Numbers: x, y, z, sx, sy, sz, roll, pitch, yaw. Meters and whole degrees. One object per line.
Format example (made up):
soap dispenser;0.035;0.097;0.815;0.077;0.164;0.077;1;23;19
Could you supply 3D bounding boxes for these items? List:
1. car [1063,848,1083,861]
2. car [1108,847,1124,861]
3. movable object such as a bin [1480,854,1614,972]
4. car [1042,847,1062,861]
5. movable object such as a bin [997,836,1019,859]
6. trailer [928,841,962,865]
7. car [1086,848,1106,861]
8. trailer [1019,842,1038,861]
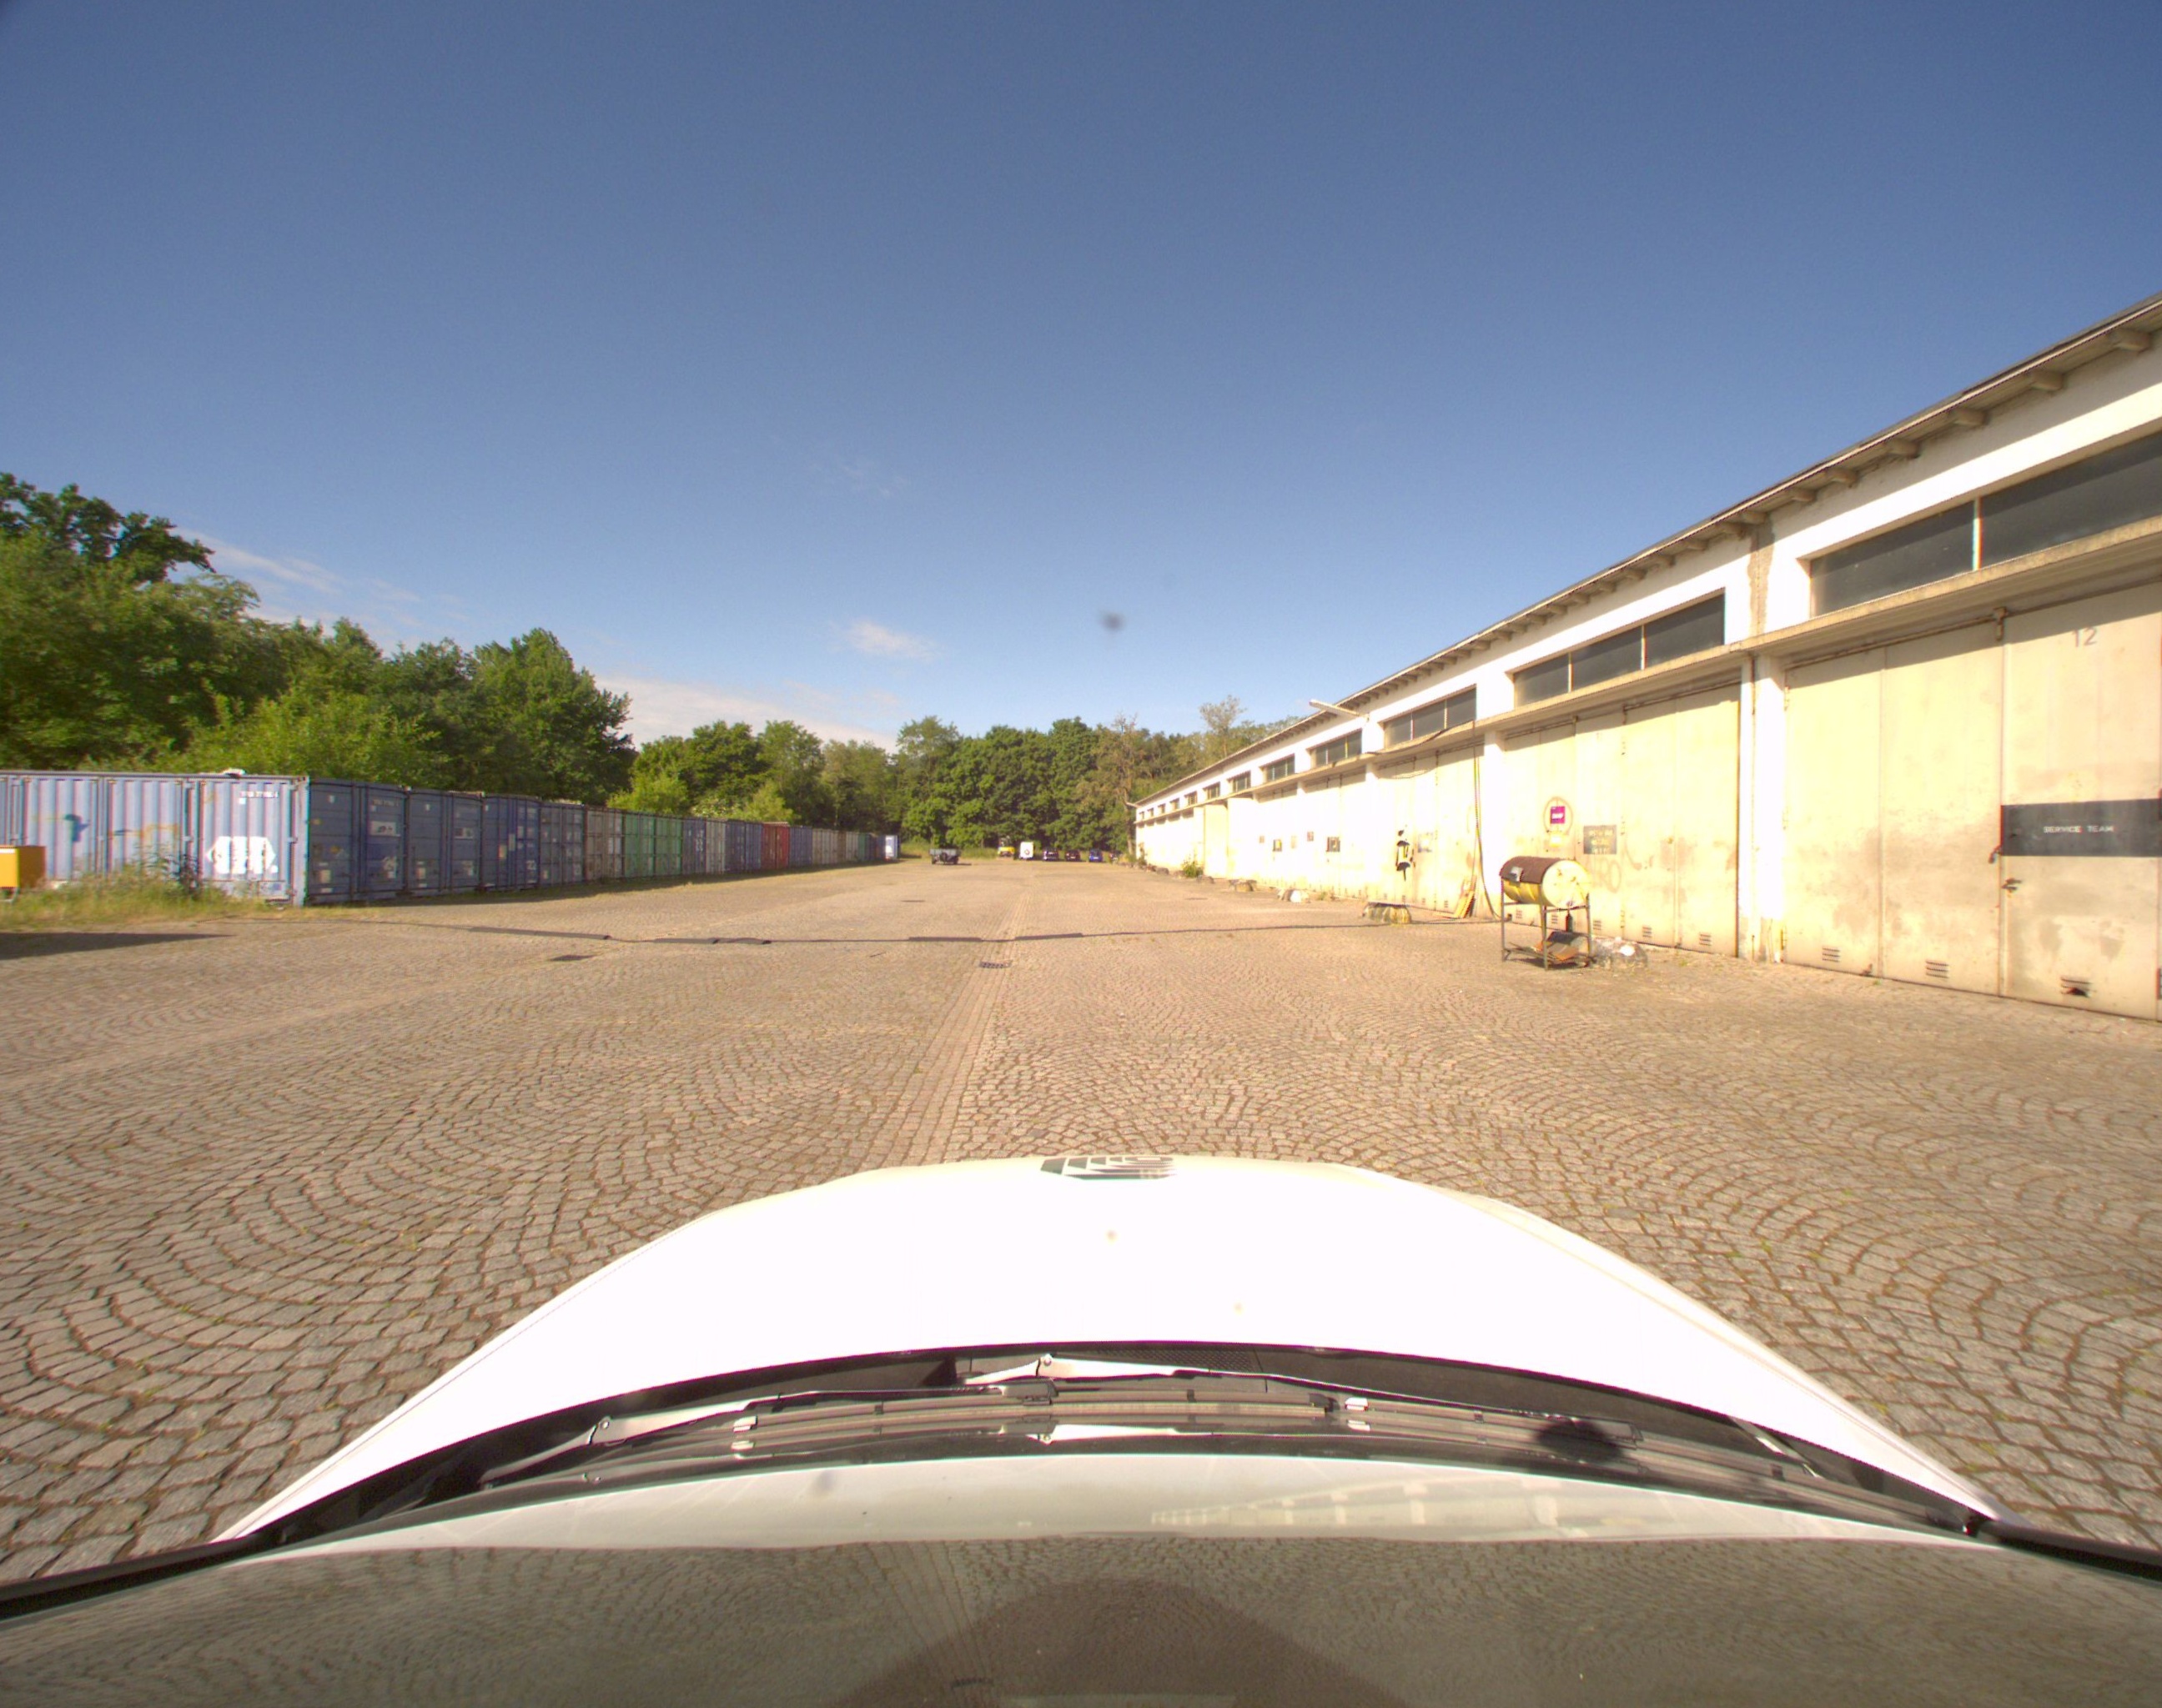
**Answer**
car;-0.887;0.019;93.241;1.984;1.462;4.005;1;0;4
car;4.120;-0.025;94.781;1.678;1.563;4.005;1;0;4
movable object such as a bin;5.661;0.678;9.981;0.823;1.331;1.277;1;0;-8
car;-3.287;-0.030;92.766;1.853;1.585;4.005;1;0;4
movable object such as a bin;-8.464;-0.746;94.558;1.986;2.618;4.001;3;0;1
trailer;-12.480;-0.085;75.004;2.400;2.013;4.172;3;0;-1
car;1.735;0.059;93.402;1.984;1.420;4.005;1;0;4
trailer;-6.068;-0.317;94.429;1.787;2.090;3.973;1;0;1
